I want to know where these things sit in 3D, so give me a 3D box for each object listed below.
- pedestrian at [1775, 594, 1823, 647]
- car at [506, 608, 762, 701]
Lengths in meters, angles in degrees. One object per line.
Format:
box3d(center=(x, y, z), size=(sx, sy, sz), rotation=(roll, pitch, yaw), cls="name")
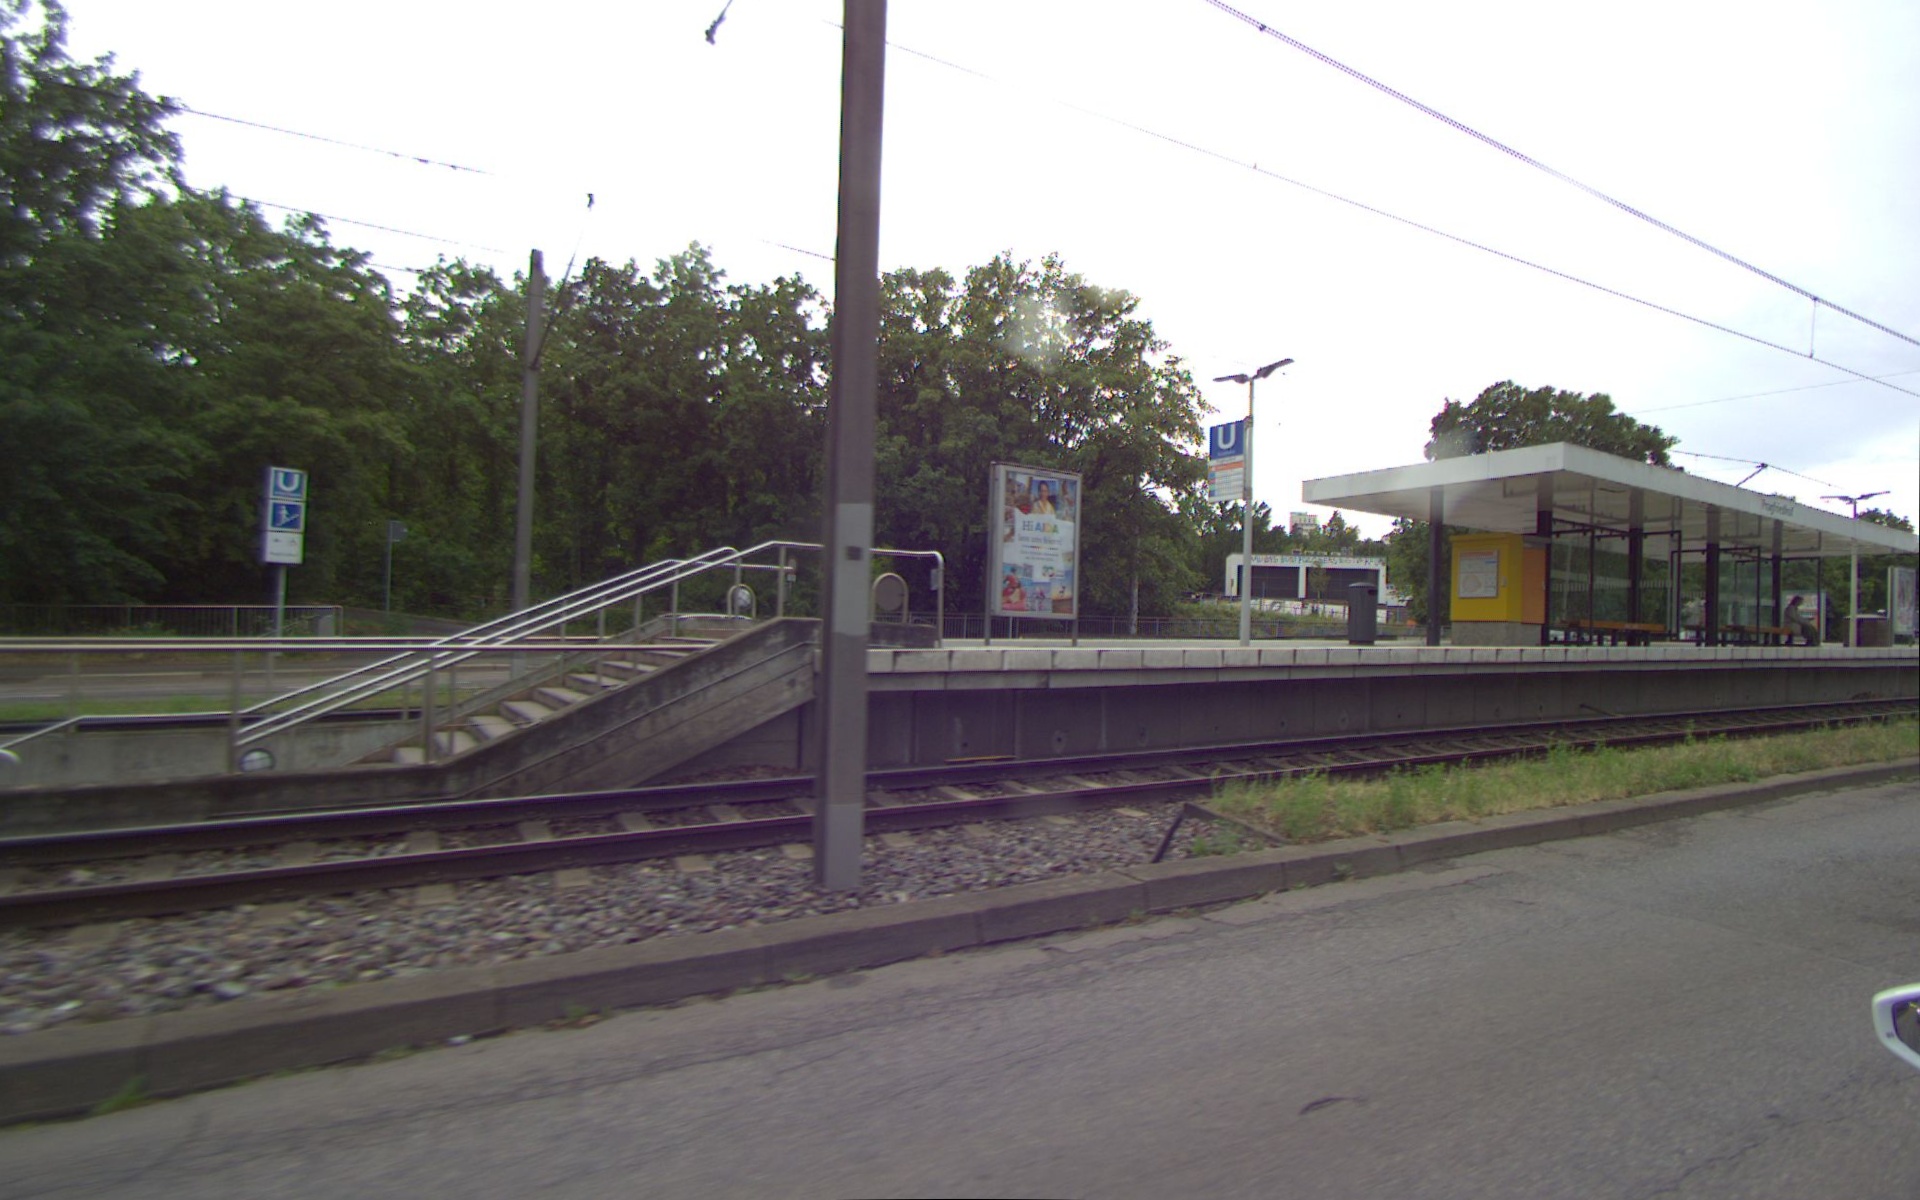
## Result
box3d(center=(20.175, 0.490, 24.163), size=(0.612, 1.242, 0.707), rotation=(1, 0, -29), cls="pedestrian")
box3d(center=(-6.394, 1.021, 19.862), size=(4.470, 1.645, 1.982), rotation=(2, -1, -34), cls="car")
